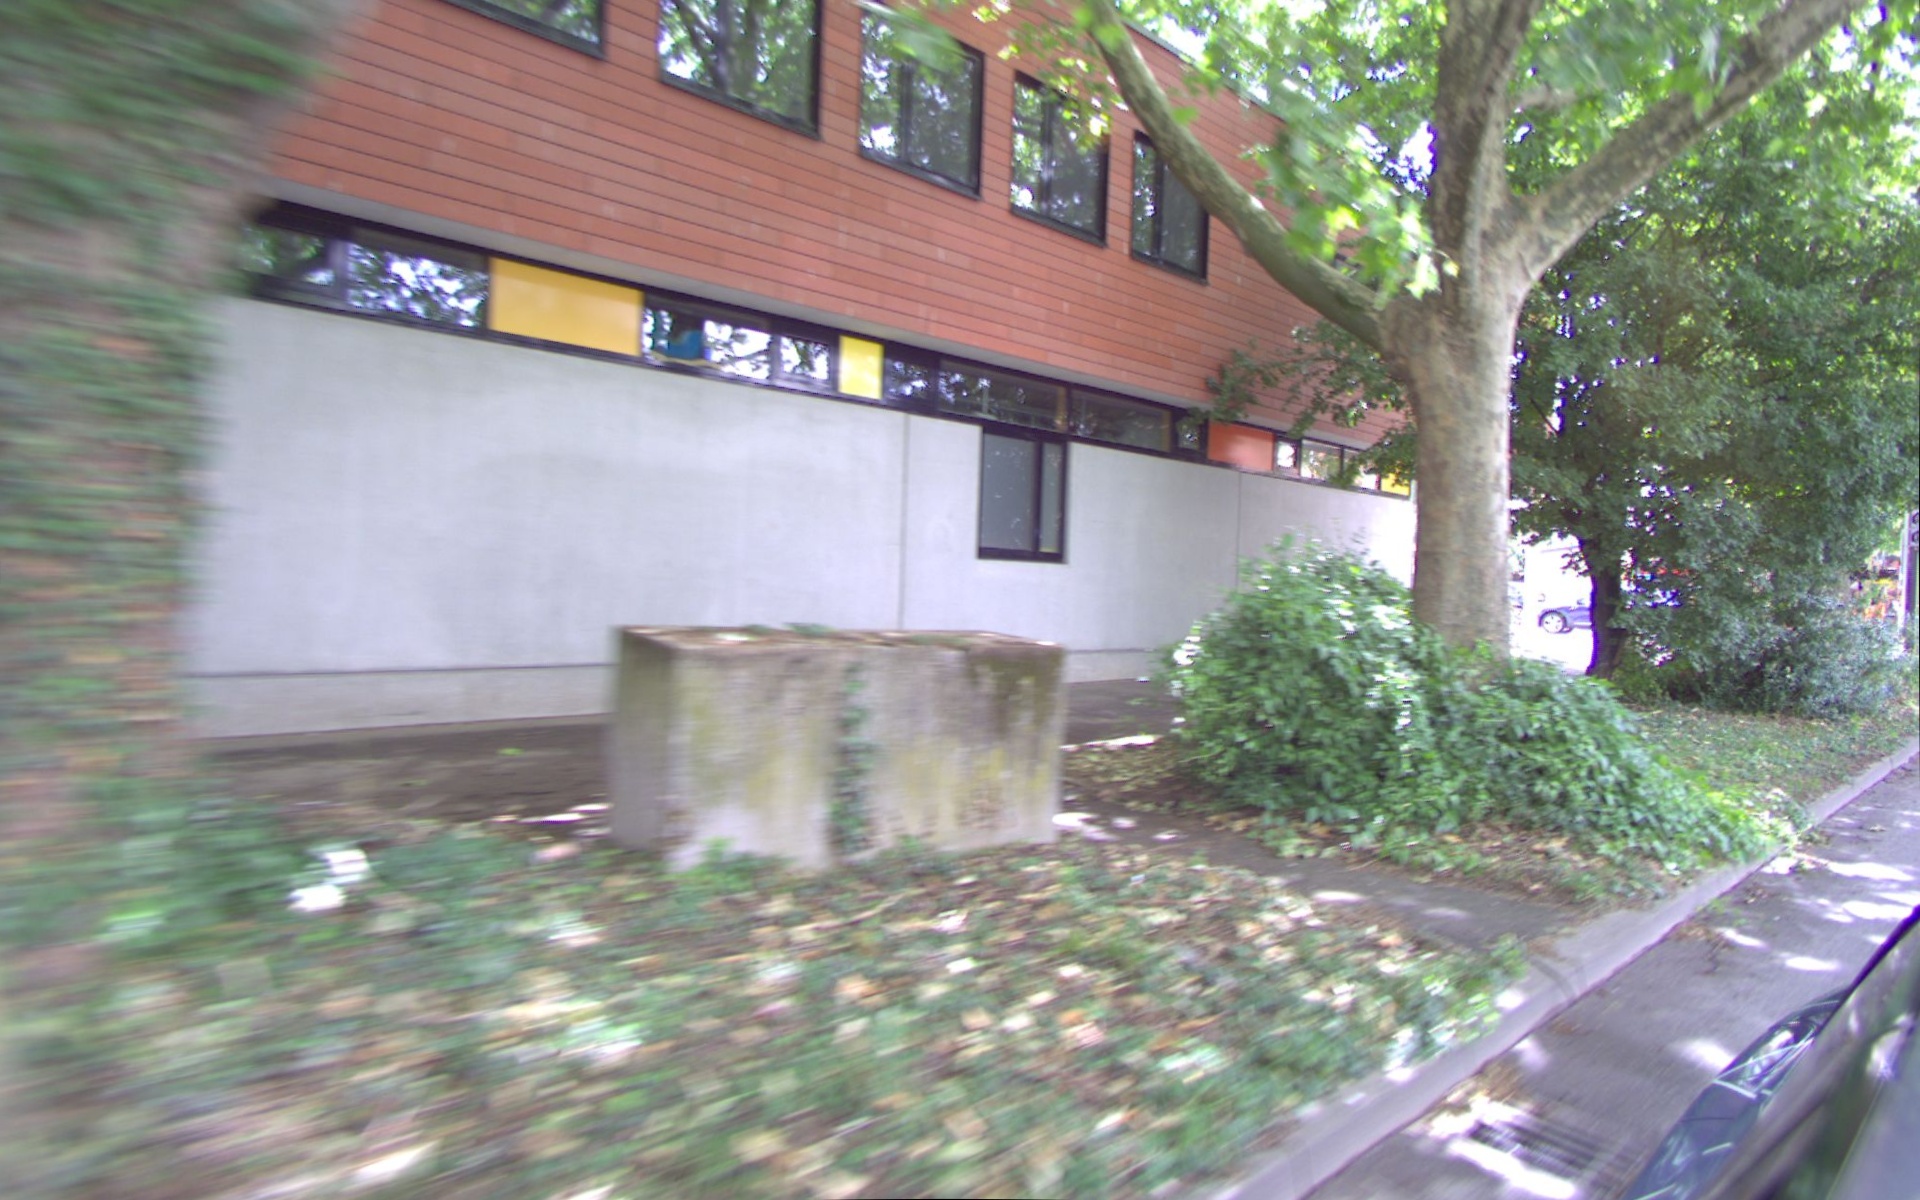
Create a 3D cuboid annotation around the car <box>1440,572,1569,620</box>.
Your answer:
[{"bbox_3d":[21.185,-0.201,39.459,4.091,1.675,1.783,3,2,42],"label":"car"}]

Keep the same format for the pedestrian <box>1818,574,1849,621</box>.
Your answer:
[{"bbox_3d":[33.645,-0.115,38.980,0.648,1.746,0.760,0,3,-44],"label":"pedestrian"}]

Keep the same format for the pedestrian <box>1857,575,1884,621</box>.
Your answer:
[{"bbox_3d":[34.487,-0.073,38.320,0.758,1.697,0.625,0,2,-40],"label":"pedestrian"}]

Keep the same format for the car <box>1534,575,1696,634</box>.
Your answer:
[{"bbox_3d":[21.474,0.114,33.261,4.178,1.702,1.982,4,2,42],"label":"car"}]

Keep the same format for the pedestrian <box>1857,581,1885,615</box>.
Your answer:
[{"bbox_3d":[50.730,-0.123,56.362,0.595,1.823,0.925,1,2,4],"label":"pedestrian"}]
